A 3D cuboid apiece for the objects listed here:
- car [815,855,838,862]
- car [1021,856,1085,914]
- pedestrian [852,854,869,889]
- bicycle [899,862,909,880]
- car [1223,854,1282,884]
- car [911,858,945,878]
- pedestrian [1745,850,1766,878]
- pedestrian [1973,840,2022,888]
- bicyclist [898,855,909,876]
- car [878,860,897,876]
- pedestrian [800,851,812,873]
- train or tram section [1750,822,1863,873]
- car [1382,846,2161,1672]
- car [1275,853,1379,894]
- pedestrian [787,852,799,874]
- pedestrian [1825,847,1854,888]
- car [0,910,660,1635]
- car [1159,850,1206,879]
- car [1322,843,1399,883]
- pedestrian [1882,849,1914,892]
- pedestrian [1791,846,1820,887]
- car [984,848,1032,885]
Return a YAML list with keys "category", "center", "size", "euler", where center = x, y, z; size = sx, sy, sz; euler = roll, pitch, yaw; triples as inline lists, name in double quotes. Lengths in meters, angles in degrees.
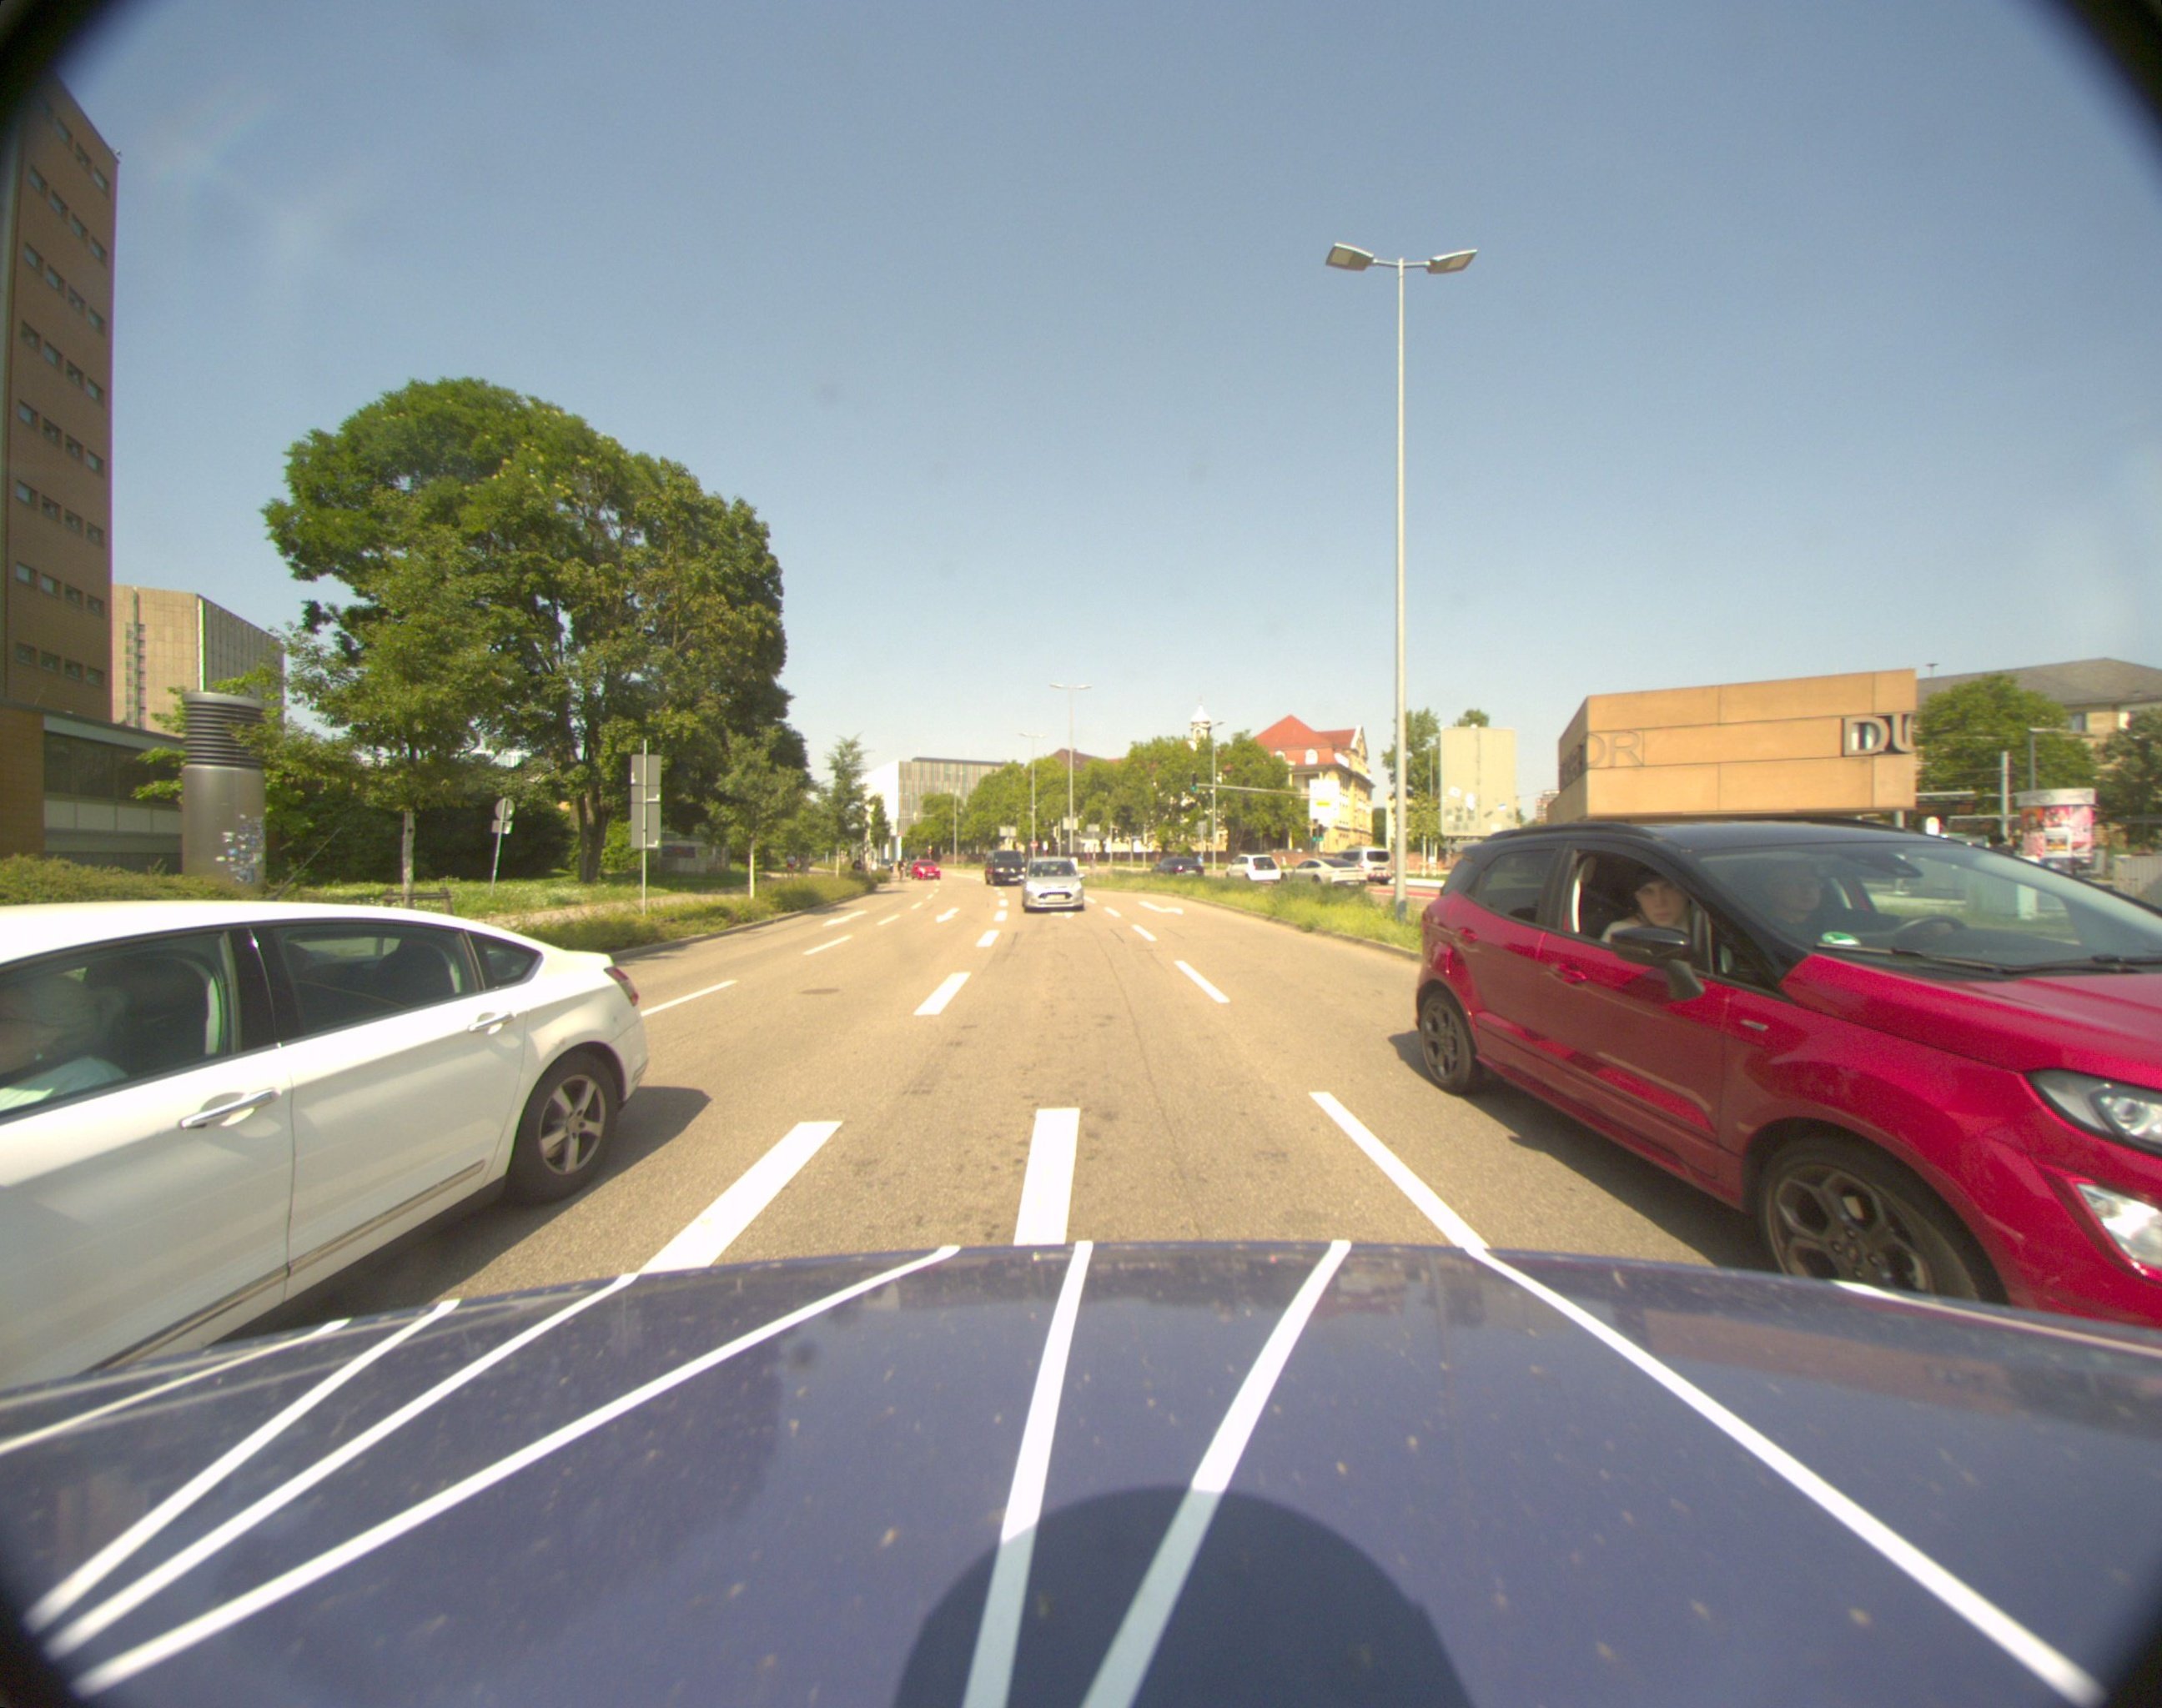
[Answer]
- category: "car"
  center: [-55.690, 0.895, 166.037]
  size: [4.429, 1.380, 1.767]
  euler: [-2, 0, -36]
- category: "car"
  center: [-0.764, 0.854, 23.103]
  size: [1.658, 1.521, 4.533]
  euler: [-2, 0, 1]
- category: "pedestrian"
  center: [-11.831, 0.928, 40.785]
  size: [0.823, 1.892, 0.630]
  euler: [-1, 1, -12]
- category: "bicycle"
  center: [-11.997, 1.123, 51.487]
  size: [0.595, 1.162, 2.233]
  euler: [-1, 0, -13]
- category: "car"
  center: [8.637, 0.724, 38.550]
  size: [1.527, 1.470, 3.473]
  euler: [0, 0, -13]
- category: "car"
  center: [-11.436, 1.011, 56.650]
  size: [1.653, 1.422, 3.808]
  euler: [-2, 0, -24]
- category: "pedestrian"
  center: [26.810, 0.377, 30.211]
  size: [0.538, 1.093, 0.543]
  euler: [0, 1, 32]
- category: "pedestrian"
  center: [28.393, 0.309, 23.540]
  size: [0.771, 1.488, 0.606]
  euler: [0, 1, -1]
- category: "bicyclist"
  center: [-11.998, 0.790, 51.484]
  size: [0.680, 1.392, 1.048]
  euler: [-1, 1, -12]
- category: "car"
  center: [-21.206, 1.484, 83.318]
  size: [1.813, 1.652, 3.994]
  euler: [0, 0, -17]
- category: "pedestrian"
  center: [-16.668, 0.490, 46.082]
  size: [0.577, 1.291, 0.437]
  euler: [-3, 1, -18]
- category: "train or tram section"
  center: [54.110, -0.436, 57.148]
  size: [2.698, 3.418, 13.446]
  euler: [0, 0, 28]
- category: "car"
  center: [2.949, 0.787, 3.394]
  size: [1.694, 1.577, 3.845]
  euler: [-2, 0, 1]
- category: "car"
  center: [9.995, 0.739, 31.306]
  size: [2.001, 1.576, 4.710]
  euler: [0, 0, -12]
- category: "pedestrian"
  center: [-17.392, 0.524, 45.883]
  size: [0.635, 1.291, 0.486]
  euler: [-3, 1, -17]
- category: "pedestrian"
  center: [27.896, 0.490, 27.946]
  size: [0.539, 1.488, 0.541]
  euler: [0, 1, -1]
- category: "car"
  center: [-3.284, 1.029, 1.876]
  size: [1.773, 1.420, 4.610]
  euler: [0, 0, 2]
- category: "car"
  center: [5.230, 0.529, 39.633]
  size: [1.526, 1.417, 3.474]
  euler: [0, 0, -8]
- category: "car"
  center: [13.791, 0.409, 37.745]
  size: [1.869, 1.843, 3.911]
  euler: [0, 1, -11]
- category: "pedestrian"
  center: [28.759, 0.565, 26.752]
  size: [0.539, 1.488, 0.541]
  euler: [0, 1, -1]
- category: "pedestrian"
  center: [26.643, 0.466, 27.957]
  size: [0.539, 1.488, 0.541]
  euler: [0, 1, -1]
- category: "car"
  center: [-4.141, 0.667, 42.418]
  size: [1.893, 1.908, 4.527]
  euler: [-2, 0, -15]
